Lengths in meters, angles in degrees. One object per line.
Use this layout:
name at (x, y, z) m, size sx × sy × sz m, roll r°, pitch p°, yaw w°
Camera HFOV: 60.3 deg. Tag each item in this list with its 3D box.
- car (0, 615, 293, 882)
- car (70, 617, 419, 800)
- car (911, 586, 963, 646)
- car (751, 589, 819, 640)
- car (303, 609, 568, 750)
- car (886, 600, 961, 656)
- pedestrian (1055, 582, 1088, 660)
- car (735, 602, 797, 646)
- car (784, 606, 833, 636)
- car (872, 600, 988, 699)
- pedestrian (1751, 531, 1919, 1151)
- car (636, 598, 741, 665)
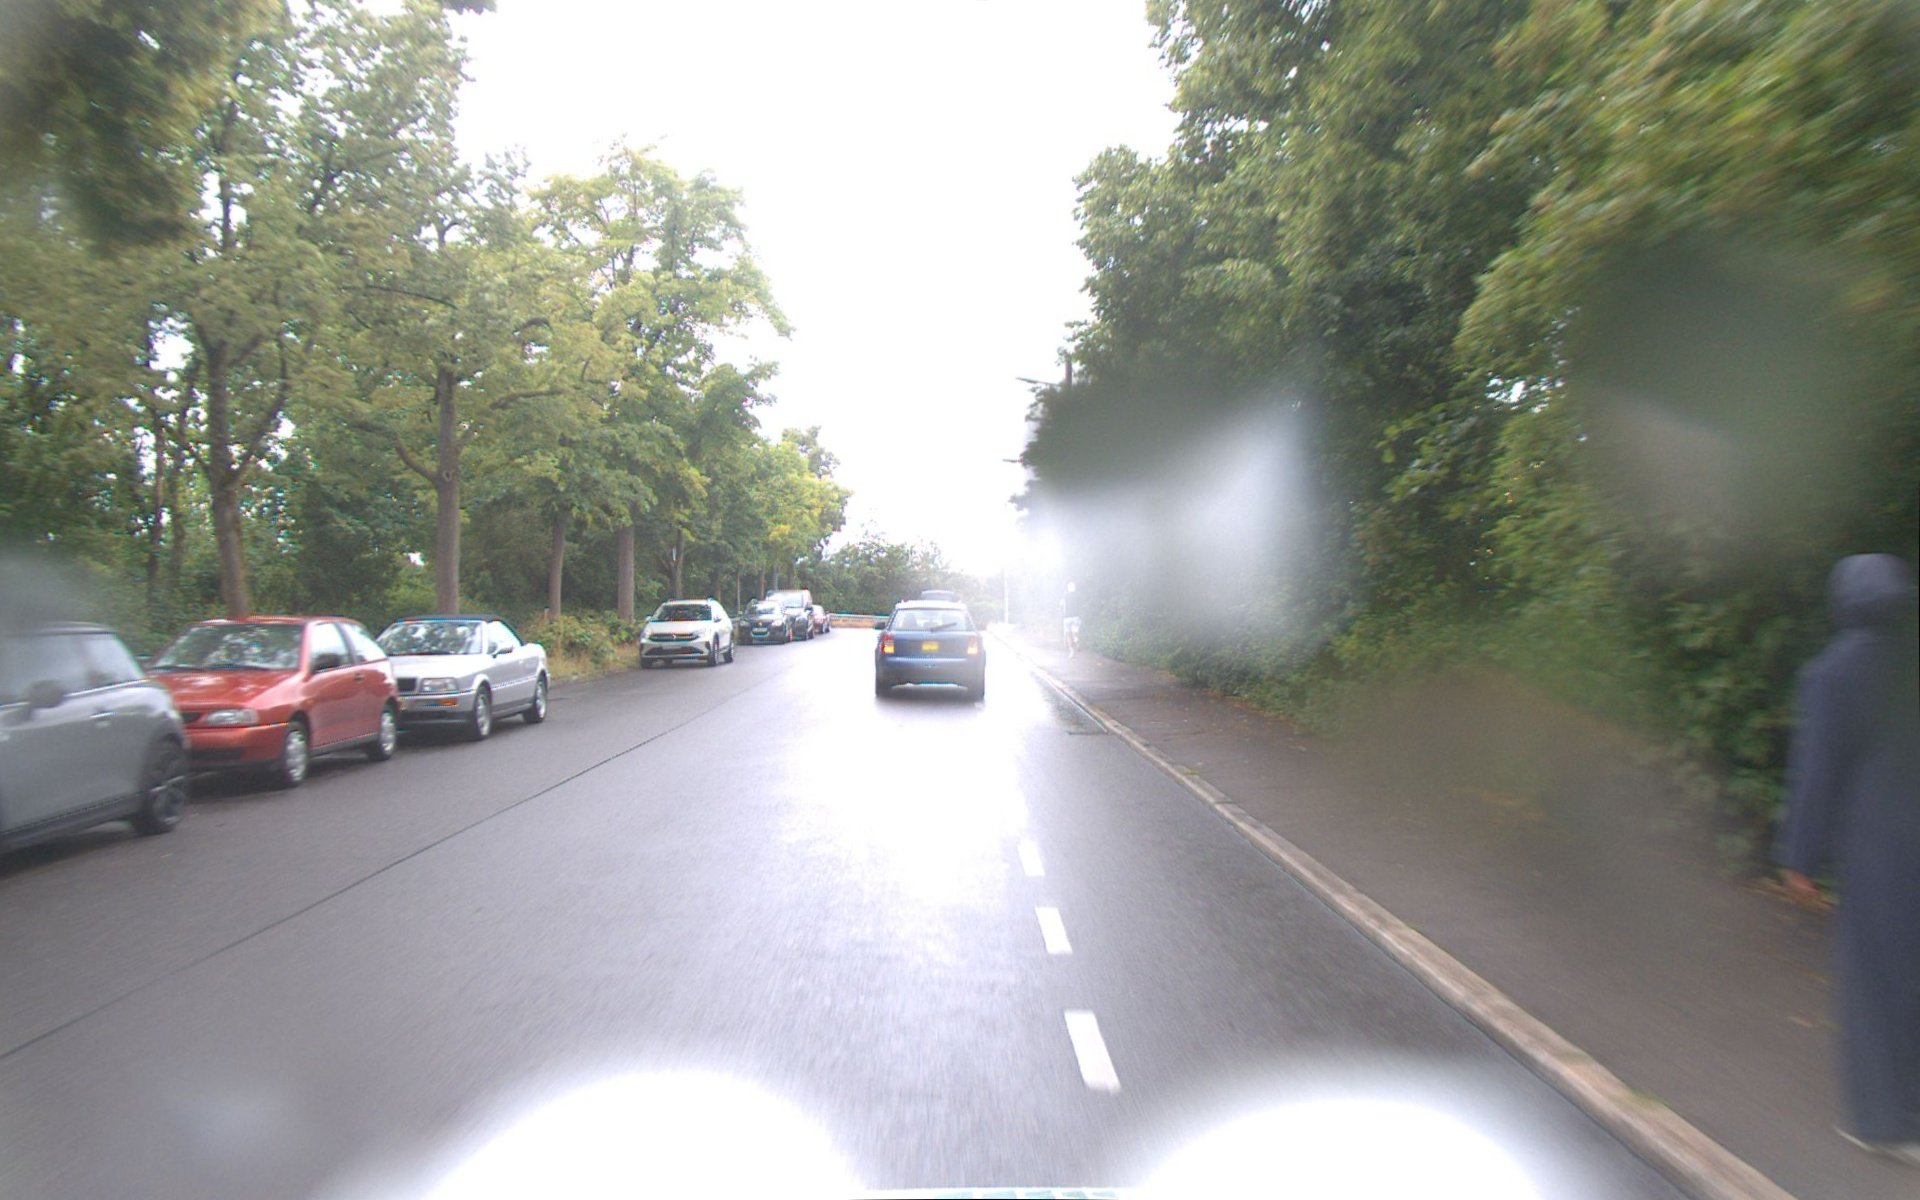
car at (-6.117, 0.845, 10.201) m, size 1.952 × 1.430 × 4.714 m, roll -2°, pitch -1°, yaw 1°
car at (-6.211, 0.860, 14.847) m, size 1.563 × 1.386 × 3.998 m, roll -1°, pitch -1°, yaw -3°
car at (-0.879, 0.545, 61.705) m, size 1.753 × 1.987 × 3.999 m, roll 2°, pitch 2°, yaw -2°
car at (-6.785, 0.567, 64.535) m, size 2.041 × 1.851 × 5.380 m, roll -1°, pitch -1°, yaw 0°
car at (-5.948, 0.842, 19.304) m, size 1.719 × 1.427 × 4.418 m, roll -1°, pitch -1°, yaw -1°
car at (-0.933, 0.741, 44.134) m, size 1.852 × 1.413 × 4.000 m, roll -1°, pitch -1°, yaw 0°
pedestrian at (2.770, 0.512, 41.011) m, size 0.702 × 1.867 × 1.021 m, roll -2°, pitch 0°, yaw 1°
car at (-6.826, 0.851, 58.558) m, size 1.761 × 1.463 × 4.254 m, roll -1°, pitch -1°, yaw -2°
car at (-6.937, 0.953, 76.052) m, size 1.752 × 1.320 × 4.326 m, roll -1°, pitch -1°, yaw 1°
car at (-0.511, 0.733, 26.473) m, size 1.712 × 1.432 × 3.998 m, roll 0°, pitch 0°, yaw -2°
pedestrian at (2.538, 0.620, 4.498) m, size 0.540 × 1.594 × 0.487 m, roll -1°, pitch -1°, yaw 9°
car at (-6.291, 0.712, 38.788) m, size 1.654 × 1.463 × 4.256 m, roll -1°, pitch -1°, yaw 1°
